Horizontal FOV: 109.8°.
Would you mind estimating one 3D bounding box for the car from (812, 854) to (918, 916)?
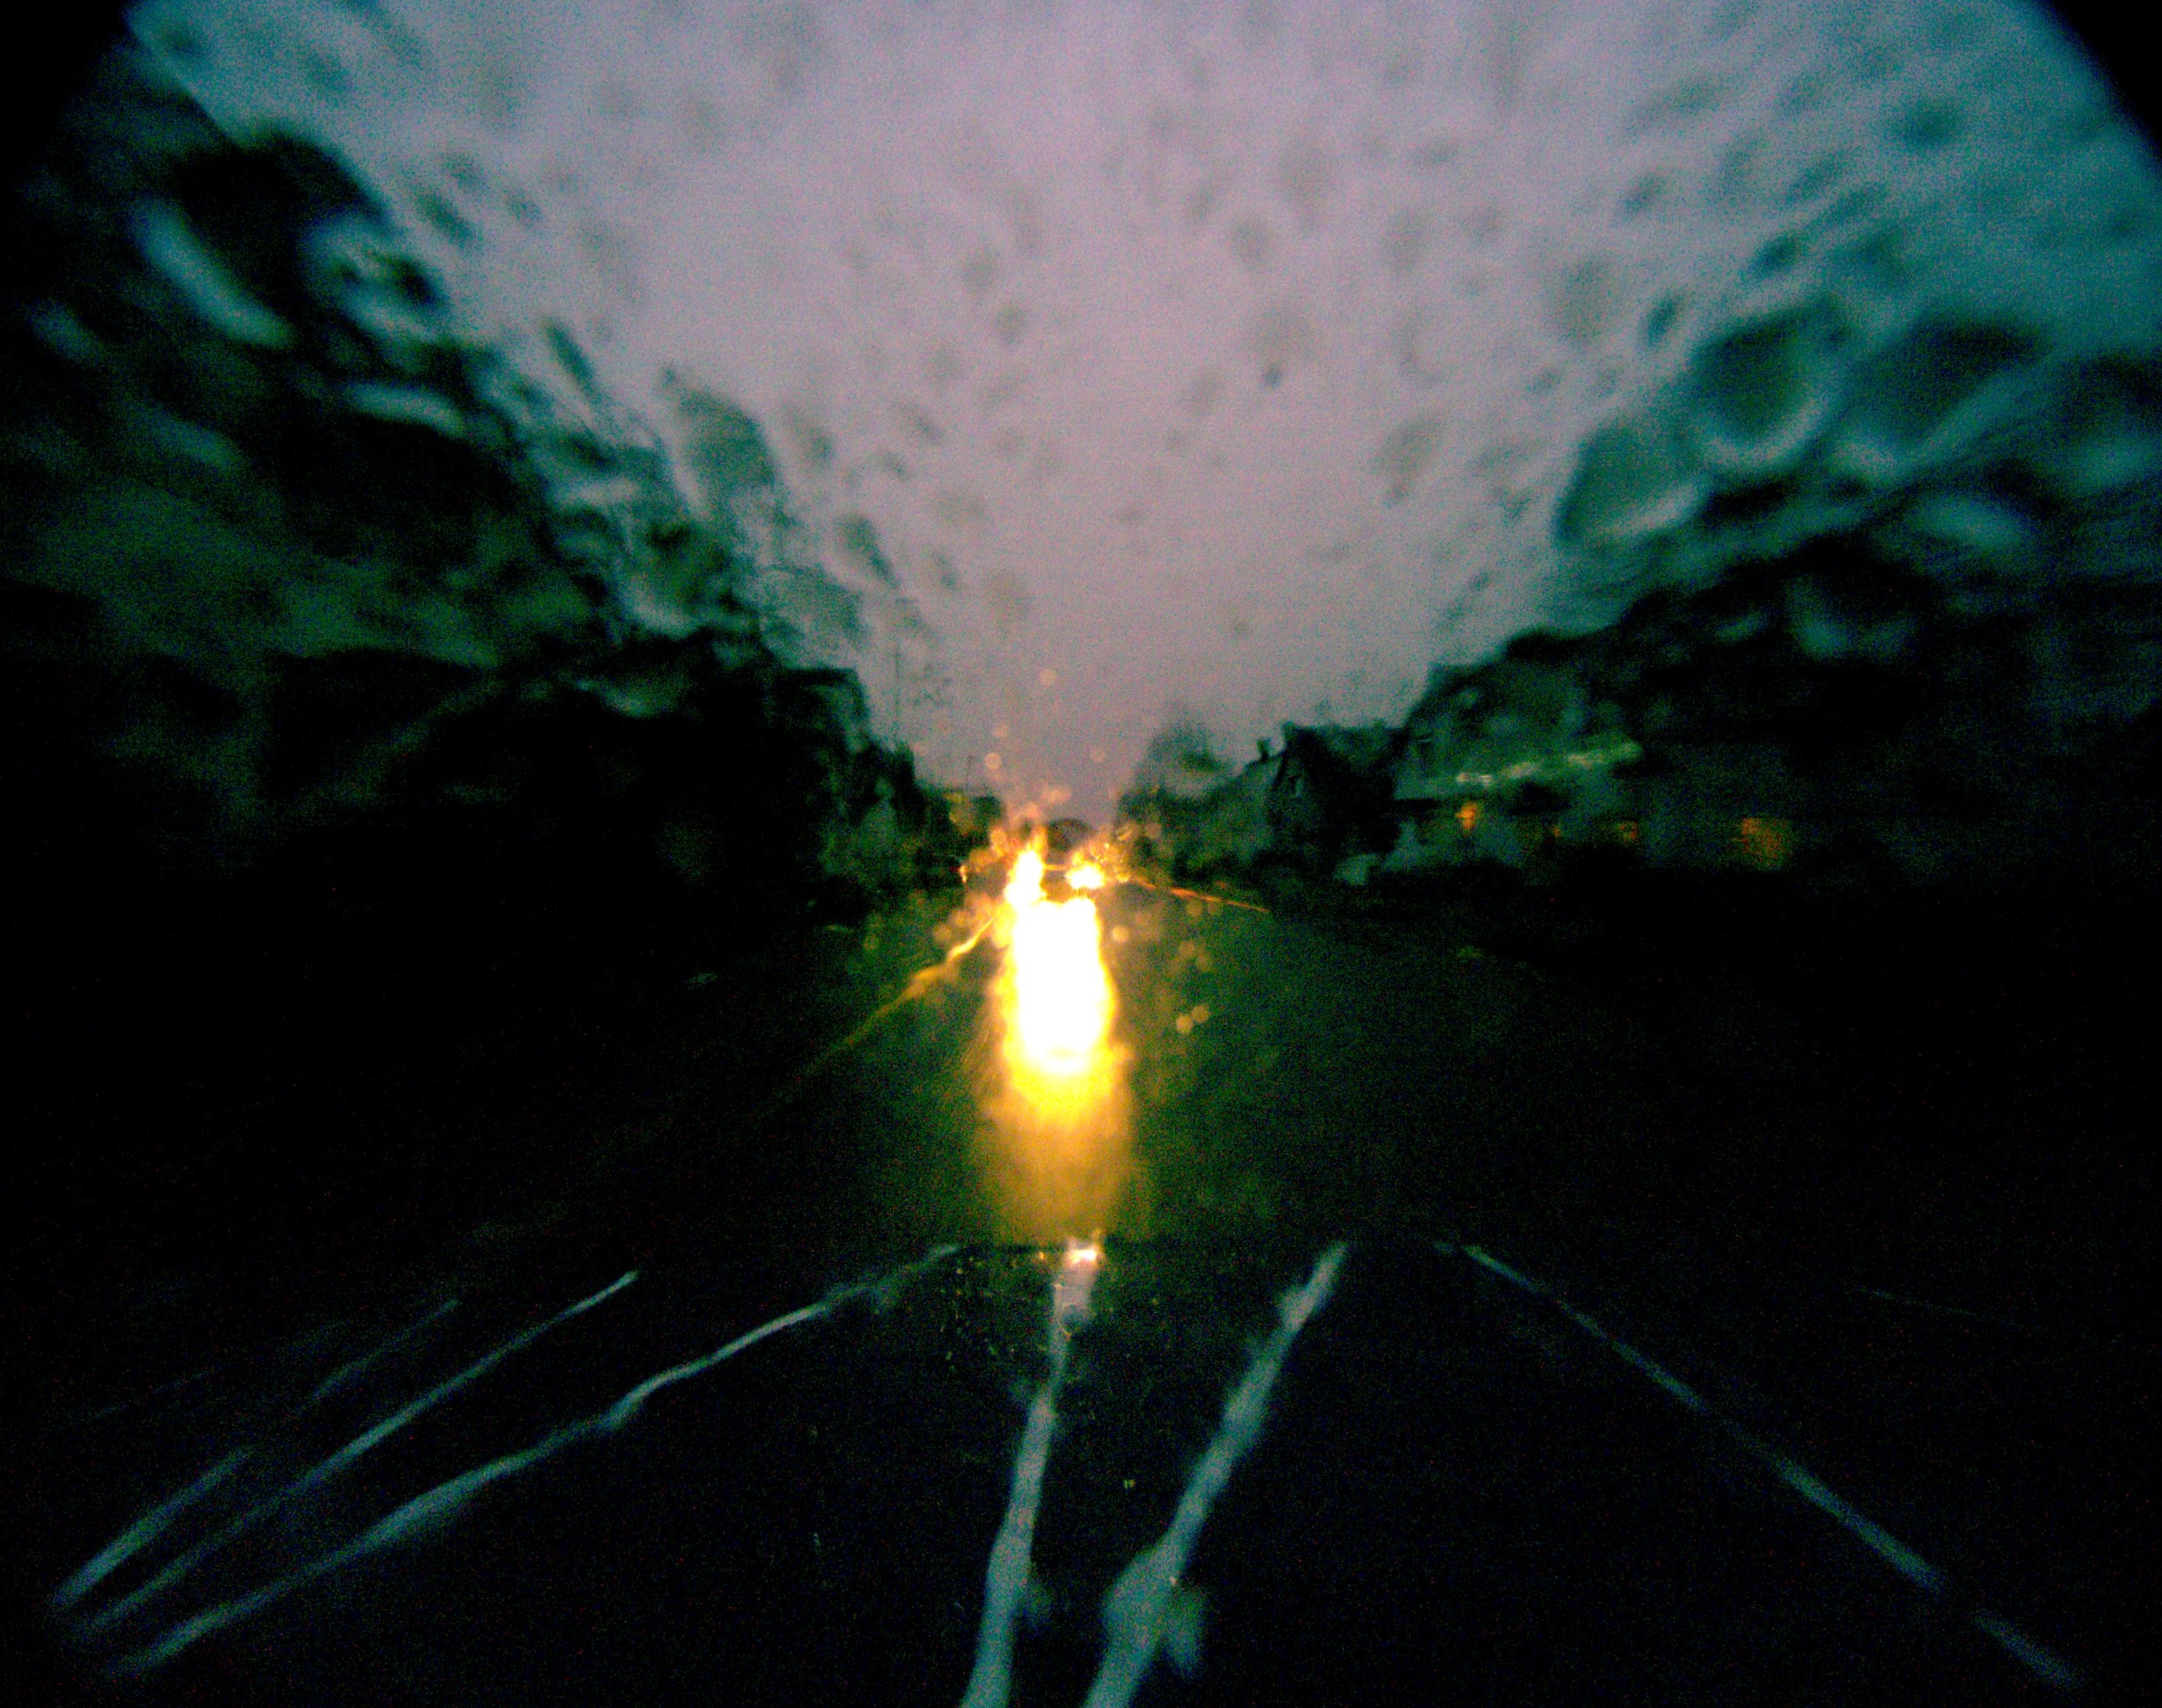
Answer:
[{"bbox_3d":[-6.075,0.798,21.984,1.898,1.545,4.753,-1,0,-3],"label":"car"}]

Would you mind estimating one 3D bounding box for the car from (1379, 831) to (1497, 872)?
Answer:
[{"bbox_3d":[16.403,-0.100,35.086,4.562,1.789,1.912,-1,1,4],"label":"car"}]

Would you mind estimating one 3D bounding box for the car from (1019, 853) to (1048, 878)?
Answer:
[{"bbox_3d":[-3.432,0.797,55.283,1.999,1.660,3.999,-1,0,-2],"label":"car"}]

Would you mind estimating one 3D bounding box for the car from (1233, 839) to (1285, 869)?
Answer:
[{"bbox_3d":[11.096,-0.022,47.577,1.999,1.745,4.566,-1,1,-2],"label":"car"}]

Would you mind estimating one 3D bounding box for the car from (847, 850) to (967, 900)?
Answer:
[{"bbox_3d":[-6.470,0.761,28.711,4.114,1.696,1.999,-1,2,-4],"label":"car"}]

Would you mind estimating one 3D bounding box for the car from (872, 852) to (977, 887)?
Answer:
[{"bbox_3d":[-7.648,0.742,37.469,4.746,1.620,1.906,-1,1,-1],"label":"car"}]

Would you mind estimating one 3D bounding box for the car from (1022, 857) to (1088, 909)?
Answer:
[{"bbox_3d":[-0.954,0.892,25.644,1.999,1.575,3.998,0,0,-5],"label":"car"}]

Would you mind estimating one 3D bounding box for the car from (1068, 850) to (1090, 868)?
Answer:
[{"bbox_3d":[-0.226,0.411,71.345,1.819,1.623,4.222,0,0,-4],"label":"car"}]
